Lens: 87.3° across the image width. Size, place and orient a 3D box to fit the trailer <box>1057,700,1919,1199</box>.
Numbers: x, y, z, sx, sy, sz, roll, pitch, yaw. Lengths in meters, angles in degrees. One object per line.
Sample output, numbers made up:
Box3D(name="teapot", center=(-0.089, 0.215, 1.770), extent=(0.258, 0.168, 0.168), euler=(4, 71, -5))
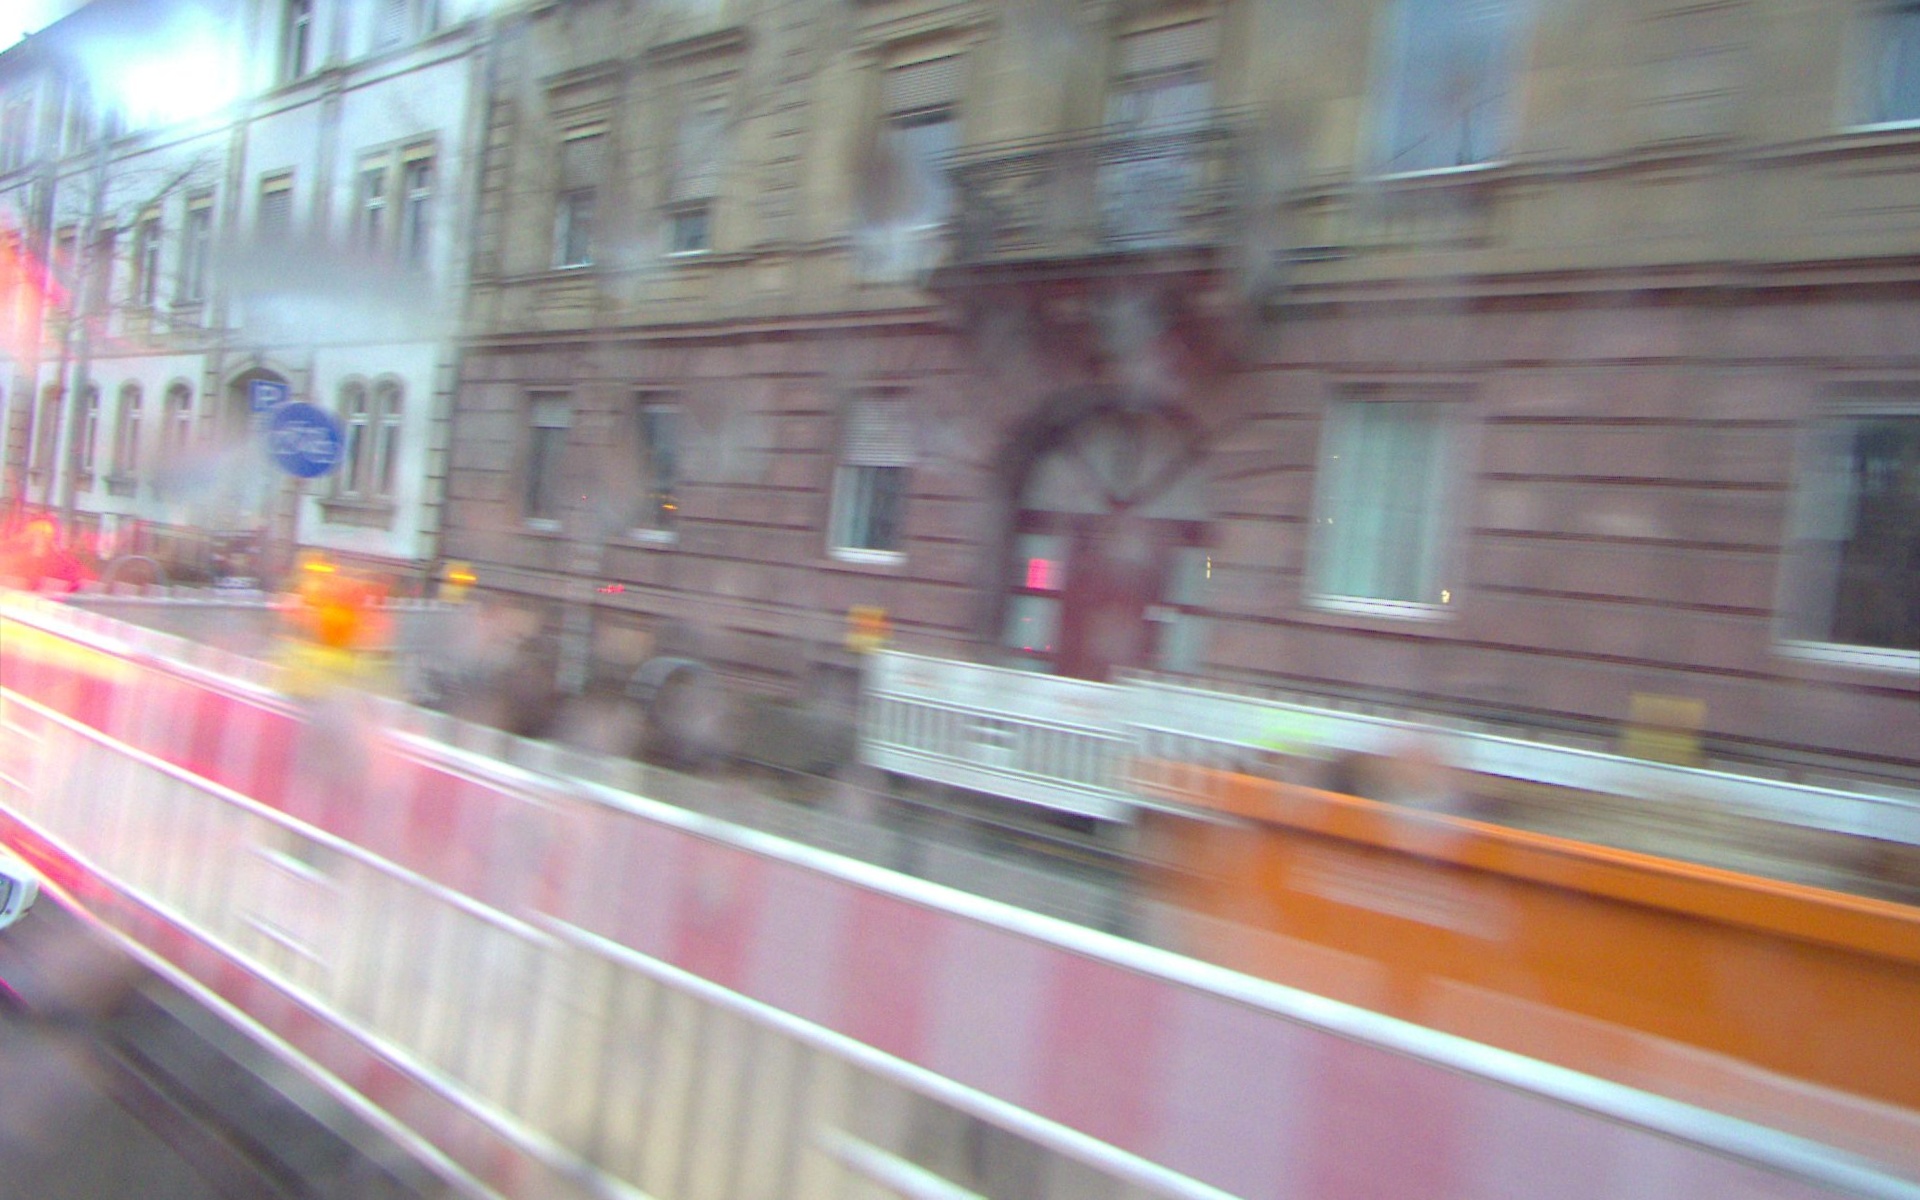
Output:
Box3D(name="trailer", center=(2.207, 1.176, 2.152), extent=(3.470, 1.362, 1.853), euler=(7, 0, 32))
